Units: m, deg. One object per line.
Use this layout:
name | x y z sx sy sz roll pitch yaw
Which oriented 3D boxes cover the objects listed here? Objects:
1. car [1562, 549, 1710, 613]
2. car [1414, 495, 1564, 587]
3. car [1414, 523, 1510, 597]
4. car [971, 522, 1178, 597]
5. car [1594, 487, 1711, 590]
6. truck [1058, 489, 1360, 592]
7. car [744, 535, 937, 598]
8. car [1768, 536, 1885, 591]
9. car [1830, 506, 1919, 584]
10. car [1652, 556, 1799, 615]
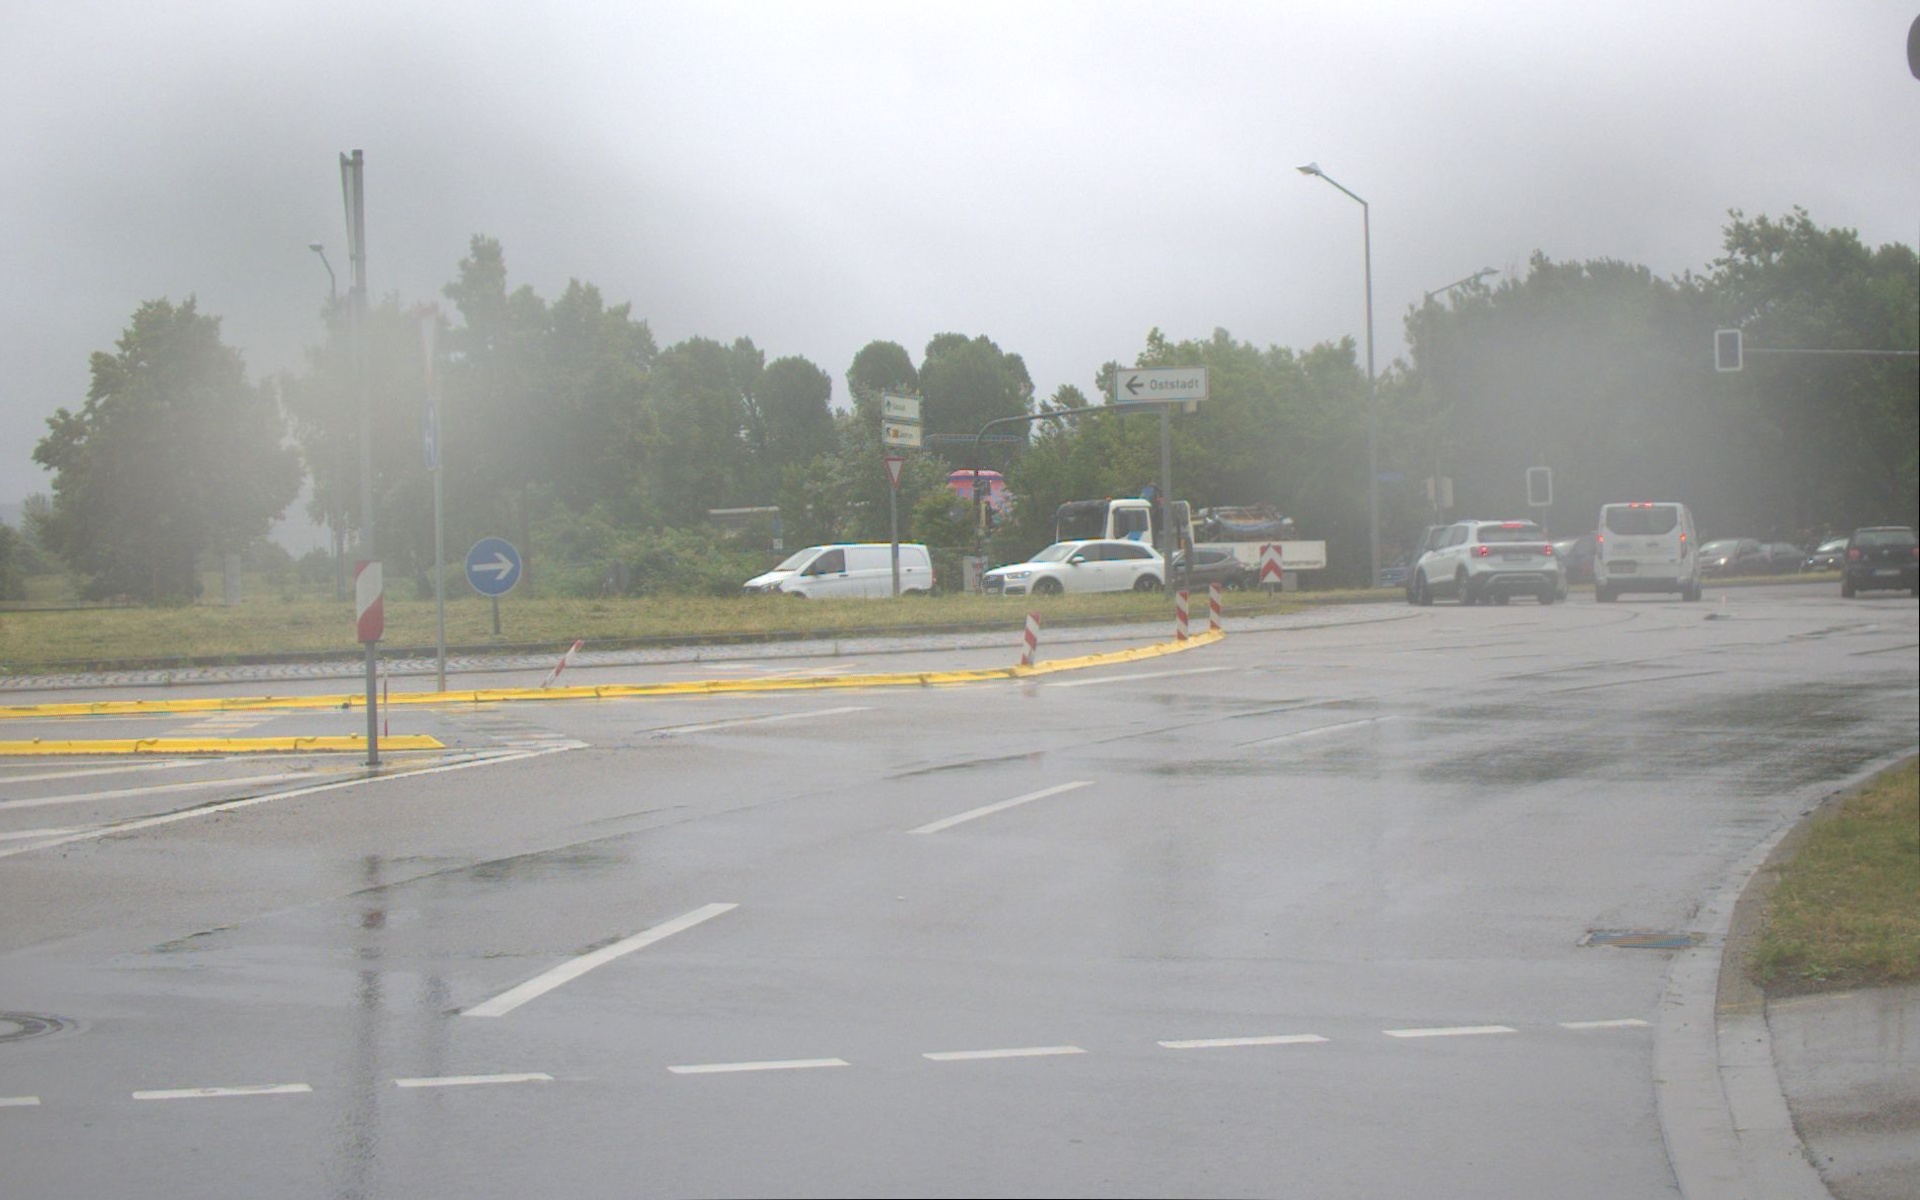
car | 19.225 -0.529 97.653 1.776 1.738 4.853 1 1 44
car | 9.815 -1.082 64.064 1.680 1.642 3.948 1 1 -8
car | 10.566 -0.836 72.260 1.690 1.487 3.249 1 1 14
car | 2.804 -0.981 83.779 4.850 1.738 1.778 0 1 -33
car | 14.237 -1.244 70.544 1.785 2.029 3.996 1 1 19
truck | 6.977 -1.612 95.538 8.768 2.702 2.000 0 1 -30
car | -2.946 -0.818 85.130 4.534 1.487 1.612 0 1 -30
car | 28.155 -1.182 111.704 1.998 1.744 3.990 1 1 43
car | 18.172 -1.106 68.120 1.689 1.487 3.249 -1 1 12
car | 23.495 -0.440 105.406 4.852 1.738 1.777 0 1 -40
